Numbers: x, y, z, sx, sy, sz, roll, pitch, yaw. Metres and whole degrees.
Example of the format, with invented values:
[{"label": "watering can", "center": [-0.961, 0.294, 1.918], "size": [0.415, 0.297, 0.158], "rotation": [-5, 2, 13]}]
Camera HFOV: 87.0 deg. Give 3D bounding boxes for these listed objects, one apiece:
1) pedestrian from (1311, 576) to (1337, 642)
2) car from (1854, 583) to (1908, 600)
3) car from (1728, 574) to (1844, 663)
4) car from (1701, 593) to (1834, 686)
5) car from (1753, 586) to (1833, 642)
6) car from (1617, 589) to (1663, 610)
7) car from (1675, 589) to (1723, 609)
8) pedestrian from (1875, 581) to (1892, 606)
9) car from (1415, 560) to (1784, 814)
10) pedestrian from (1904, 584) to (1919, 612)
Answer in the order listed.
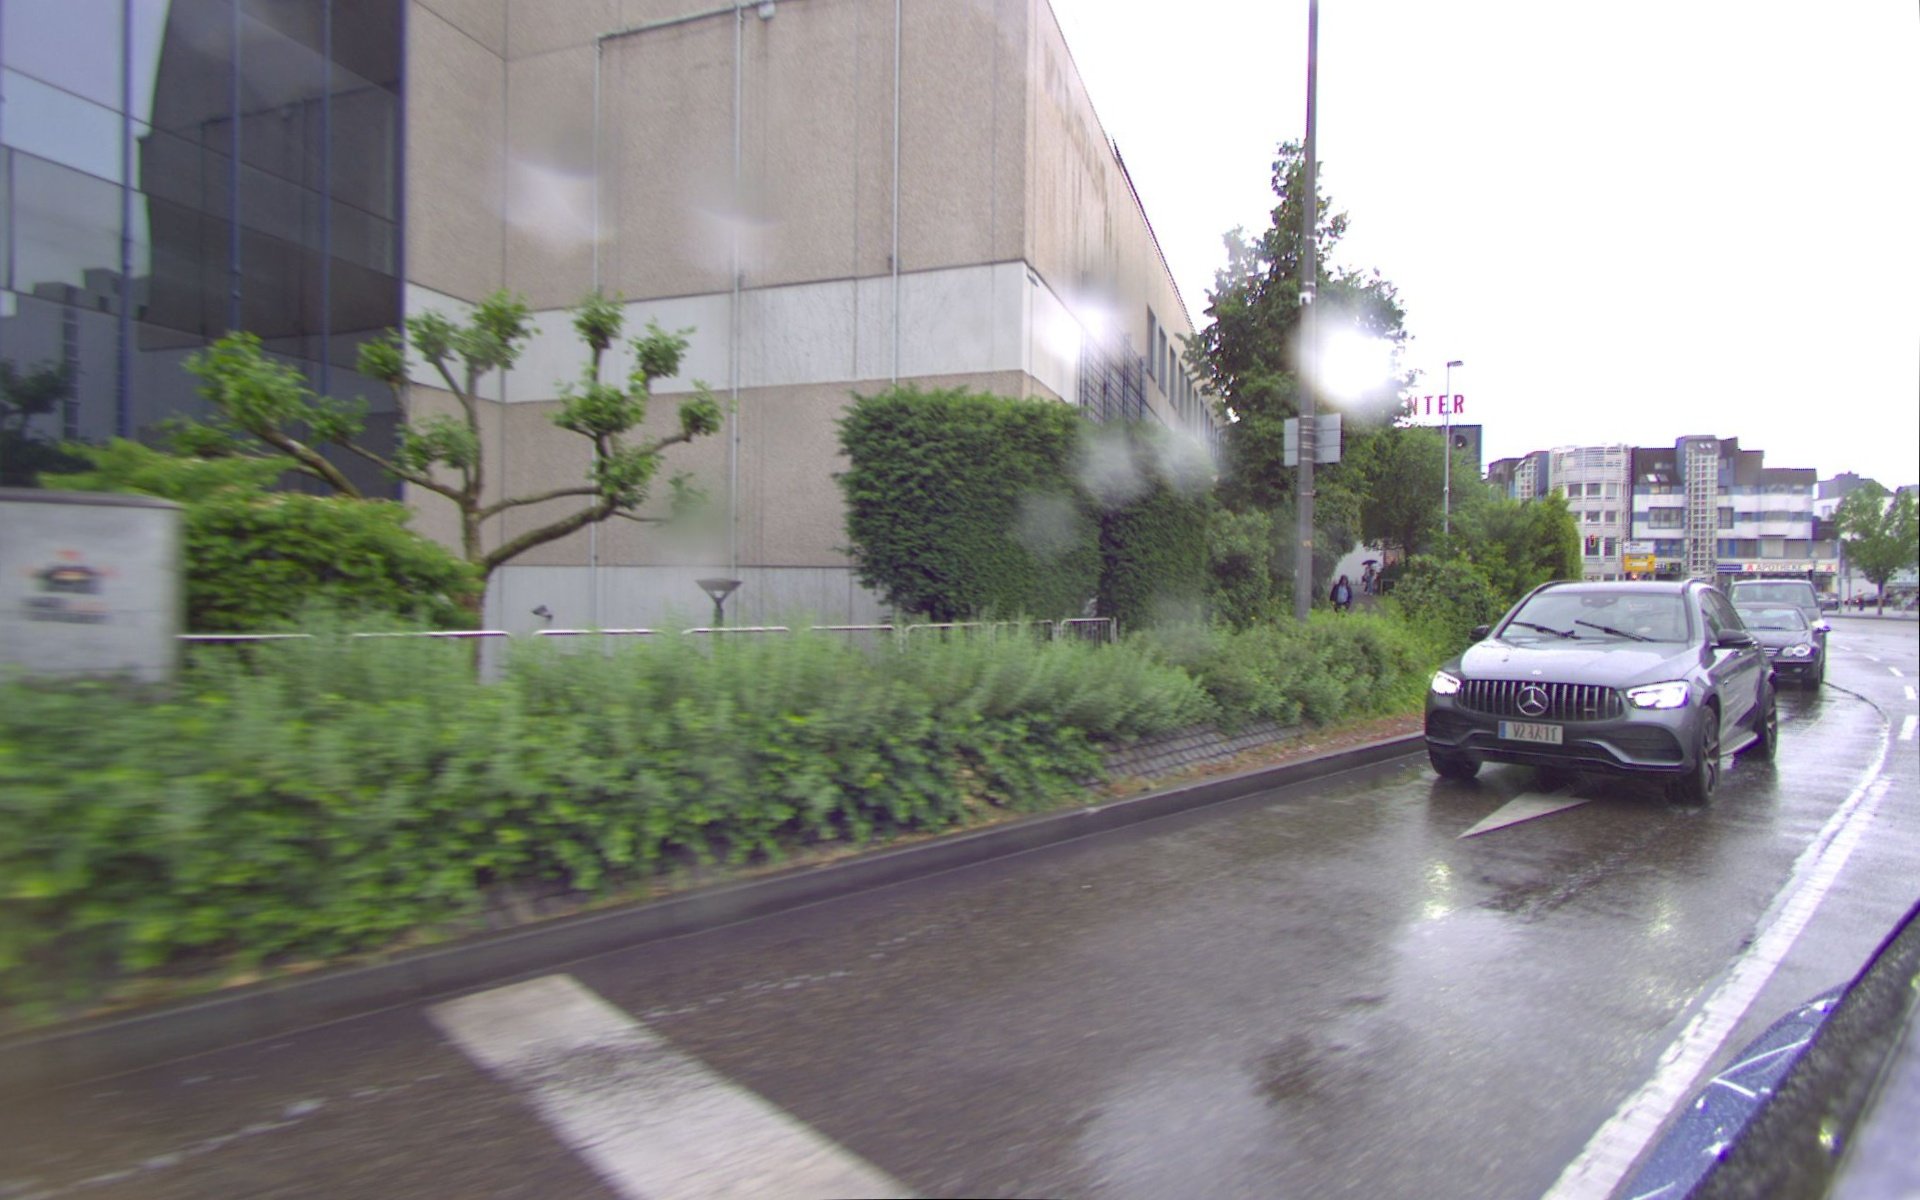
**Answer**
[{"label": "pedestrian", "center": [10.173, 0.232, 28.271], "size": [0.666, 1.820, 0.669], "rotation": [0, 1, 20]}, {"label": "car", "center": [95.381, -0.863, 104.879], "size": [3.828, 1.742, 1.744], "rotation": [0, 0, 6]}, {"label": "car", "center": [19.750, 0.365, 24.327], "size": [1.991, 1.918, 4.524], "rotation": [0, 1, 38]}, {"label": "car", "center": [14.199, 0.593, 17.718], "size": [1.630, 1.403, 4.448], "rotation": [0, 0, 41]}, {"label": "car", "center": [25.400, 0.397, 30.814], "size": [1.756, 1.569, 4.262], "rotation": [0, 0, 41]}, {"label": "car", "center": [50.111, -0.043, 74.622], "size": [1.739, 1.470, 3.977], "rotation": [0, 0, 18]}, {"label": "car", "center": [55.183, -0.091, 75.657], "size": [1.827, 1.479, 4.772], "rotation": [0, 0, 23]}, {"label": "pedestrian", "center": [74.669, -0.530, 81.840], "size": [0.752, 2.039, 0.858], "rotation": [0, 0, 22]}, {"label": "car", "center": [5.685, 0.544, 8.746], "size": [1.901, 1.641, 4.267], "rotation": [0, 0, 44]}, {"label": "pedestrian", "center": [66.690, -0.127, 70.668], "size": [0.899, 1.939, 0.967], "rotation": [0, 0, 32]}]
